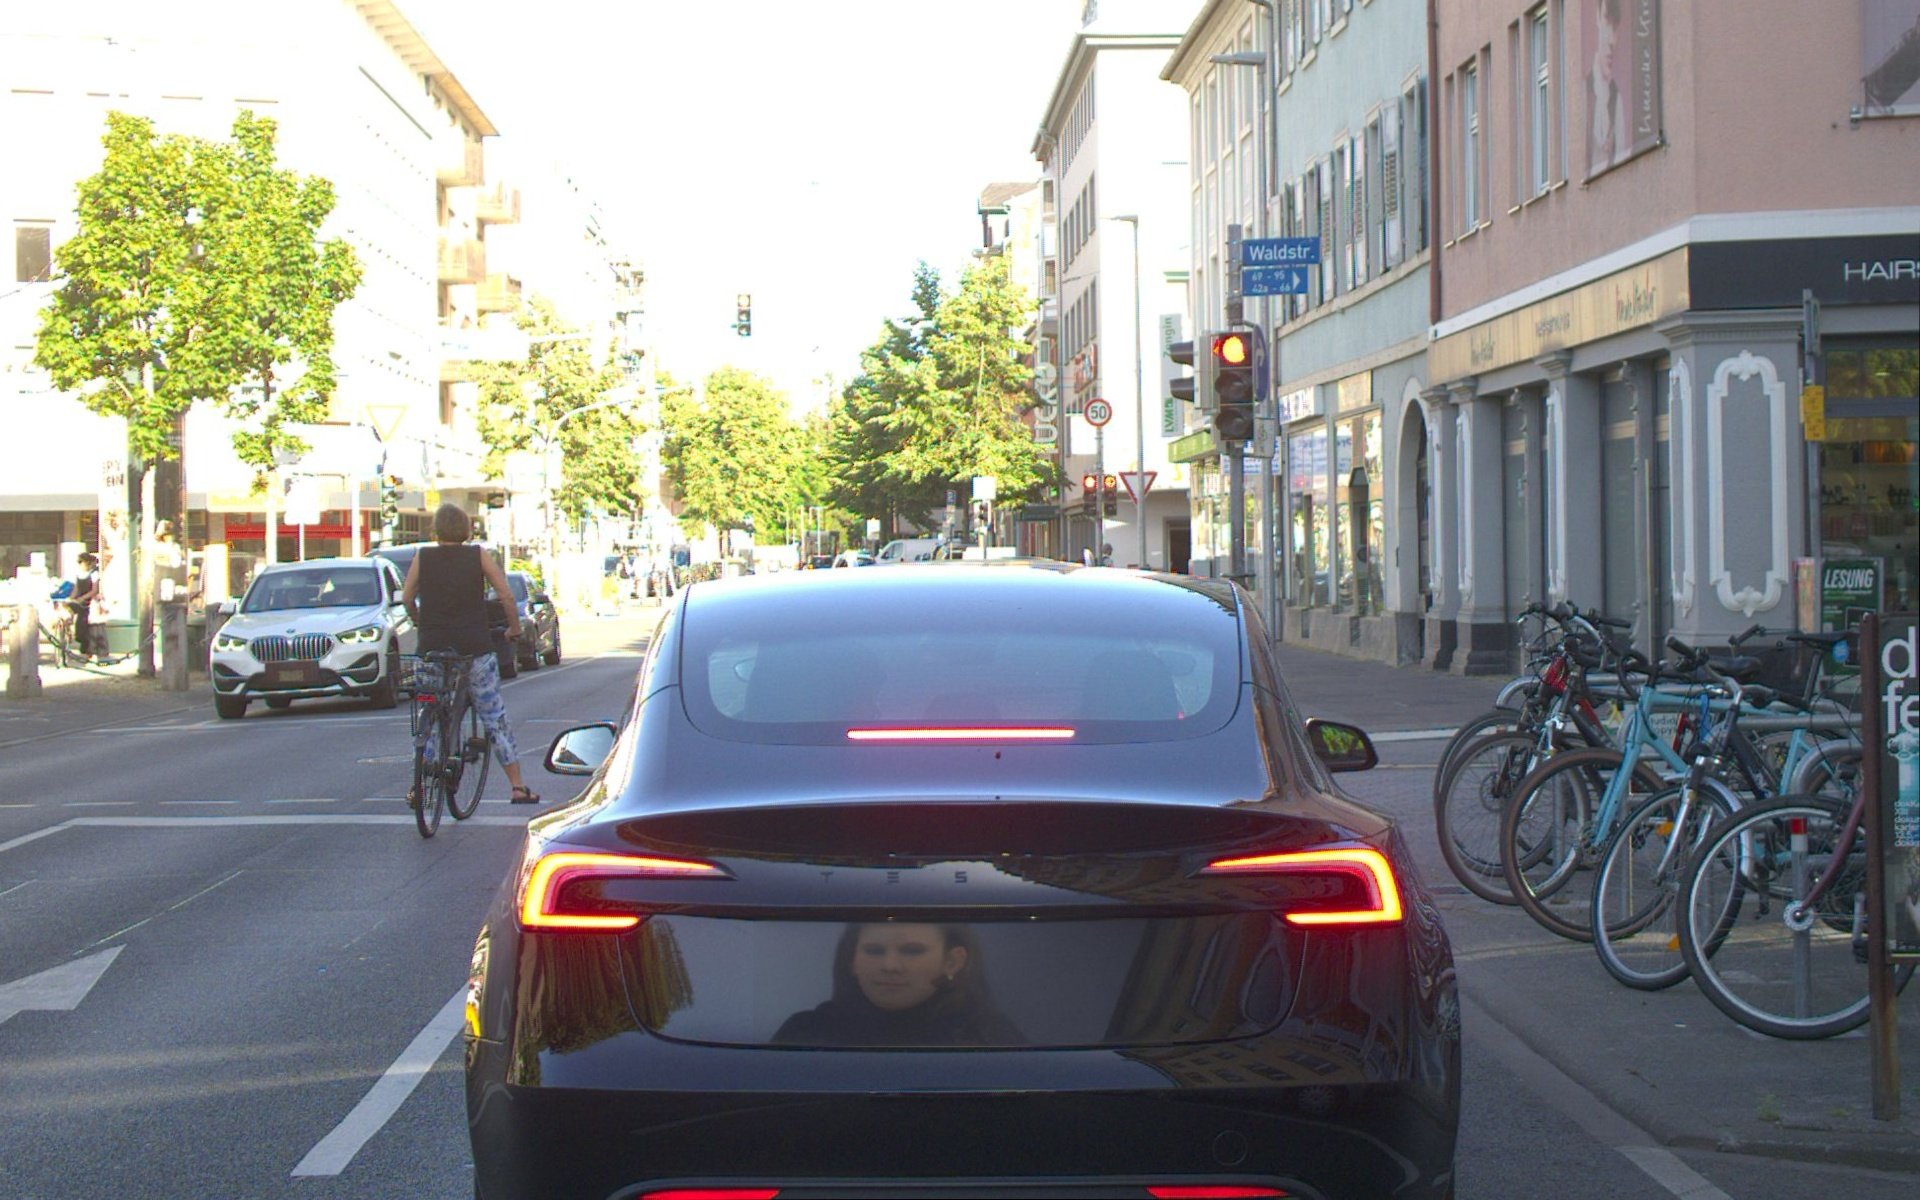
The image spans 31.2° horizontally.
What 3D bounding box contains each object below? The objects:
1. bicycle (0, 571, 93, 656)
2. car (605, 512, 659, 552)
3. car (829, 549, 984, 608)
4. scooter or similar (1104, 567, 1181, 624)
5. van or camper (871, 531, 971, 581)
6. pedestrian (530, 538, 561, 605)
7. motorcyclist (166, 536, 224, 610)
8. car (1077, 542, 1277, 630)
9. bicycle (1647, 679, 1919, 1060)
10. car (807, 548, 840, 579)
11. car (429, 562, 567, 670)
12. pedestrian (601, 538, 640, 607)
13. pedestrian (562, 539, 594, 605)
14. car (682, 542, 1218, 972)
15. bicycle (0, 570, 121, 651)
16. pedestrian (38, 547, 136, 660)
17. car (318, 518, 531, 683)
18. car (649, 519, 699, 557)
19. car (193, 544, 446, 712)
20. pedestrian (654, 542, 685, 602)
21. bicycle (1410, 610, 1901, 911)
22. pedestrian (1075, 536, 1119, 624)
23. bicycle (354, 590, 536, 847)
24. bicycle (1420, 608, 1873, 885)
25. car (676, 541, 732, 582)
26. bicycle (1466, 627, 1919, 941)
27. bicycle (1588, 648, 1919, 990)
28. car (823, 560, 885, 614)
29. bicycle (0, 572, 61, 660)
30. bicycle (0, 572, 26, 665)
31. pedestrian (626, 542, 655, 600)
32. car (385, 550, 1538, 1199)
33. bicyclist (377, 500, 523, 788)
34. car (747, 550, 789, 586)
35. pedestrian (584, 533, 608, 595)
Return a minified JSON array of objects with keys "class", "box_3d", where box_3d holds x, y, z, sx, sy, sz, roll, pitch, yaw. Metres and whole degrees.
[{"class":"bicycle","box_3d":[-14.535,0.190,52.153,2.542,1.247,0.943,1,0,-3]},{"class":"car","box_3d":[-17.126,-3.541,179.654,2.275,2.007,4.717,1,1,1]},{"class":"car","box_3d":[-1.274,-0.508,82.818,1.697,1.385,3.907,1,1,36]},{"class":"scooter or similar","box_3d":[3.705,-0.085,69.898,1.333,1.131,0.810,1,0,-24]},{"class":"van or camper","box_3d":[-1.901,-2.138,167.561,4.850,2.430,1.851,0,1,-1]},{"class":"pedestrian","box_3d":[-11.690,-0.810,96.943,0.732,1.861,0.791,1,0,-17]},{"class":"motorcyclist","box_3d":[-17.115,-0.608,76.941,1.109,1.627,0.776,1,0,-26]},{"class":"car","box_3d":[4.708,-0.325,74.688,3.992,1.861,1.698,0,1,-21]},{"class":"bicycle","box_3d":[3.025,0.760,10.063,1.882,1.040,0.653,-1,1,1]},{"class":"car","box_3d":[-8.201,-2.203,206.637,1.892,1.807,3.925,1,1,-2]},{"class":"car","box_3d":[-6.655,0.206,49.810,1.461,1.425,3.606,-4,1,-1]},{"class":"pedestrian","box_3d":[-9.352,-0.754,94.599,0.734,1.861,0.789,1,0,28]},{"class":"pedestrian","box_3d":[-10.798,-0.800,97.161,0.732,1.861,0.791,1,0,-17]},{"class":"car","box_3d":[-0.061,0.525,14.211,1.850,1.476,4.452,1,1,-1]},{"class":"bicycle","box_3d":[-14.696,0.164,54.578,2.542,1.247,0.943,1,0,-3]},{"class":"pedestrian","box_3d":[-12.603,0.045,49.651,1.092,1.606,1.266,1,0,-1]},{"class":"car","box_3d":[-6.574,-0.035,42.676,1.945,1.940,4.820,0,1,-1]},{"class":"car","box_3d":[-15.649,-3.361,188.294,2.275,2.007,4.717,1,1,1]},{"class":"car","box_3d":[-6.688,0.255,36.353,1.825,1.559,4.301,-4,1,-1]},{"class":"pedestrian","box_3d":[-9.102,-0.883,107.744,0.774,1.861,1.009,1,0,-15]},{"class":"bicycle","box_3d":[2.730,0.621,13.615,1.813,1.148,0.653,0,1,1]},{"class":"pedestrian","box_3d":[2.765,-0.402,69.471,0.658,1.754,0.654,1,0,-24]},{"class":"bicycle","box_3d":[-2.701,0.591,18.198,0.628,1.219,2.001,1,2,1]},{"class":"bicycle","box_3d":[2.922,0.613,14.749,1.813,1.148,0.653,0,1,1]},{"class":"car","box_3d":[-12.395,-1.874,166.464,2.414,1.963,4.678,0,1,-1]},{"class":"bicycle","box_3d":[2.799,0.658,12.541,1.813,1.098,0.653,0,1,1]},{"class":"bicycle","box_3d":[2.999,0.694,11.135,1.813,1.056,0.653,0,1,1]},{"class":"car","box_3d":[-3.614,-0.447,116.476,2.035,1.782,4.007,0,1,-3]},{"class":"bicycle","box_3d":[-14.489,0.218,49.878,2.662,1.255,0.943,1,0,-3]},{"class":"bicycle","box_3d":[-14.488,0.236,47.559,2.875,1.266,0.943,1,0,-3]},{"class":"pedestrian","box_3d":[-10.363,-0.938,111.462,0.694,1.861,0.910,1,0,-19]},{"class":"car","box_3d":[-0.025,0.630,7.787,1.850,1.442,4.452,1,1,-1]},{"class":"bicyclist","box_3d":[-2.696,0.223,18.235,0.606,1.479,0.958,1,0,1]},{"class":"car","box_3d":[-10.443,-1.746,187.147,2.132,1.963,4.134,0,1,-1]},{"class":"pedestrian","box_3d":[-10.997,-1.076,103.891,0.695,1.861,0.659,1,0,-5]}]
